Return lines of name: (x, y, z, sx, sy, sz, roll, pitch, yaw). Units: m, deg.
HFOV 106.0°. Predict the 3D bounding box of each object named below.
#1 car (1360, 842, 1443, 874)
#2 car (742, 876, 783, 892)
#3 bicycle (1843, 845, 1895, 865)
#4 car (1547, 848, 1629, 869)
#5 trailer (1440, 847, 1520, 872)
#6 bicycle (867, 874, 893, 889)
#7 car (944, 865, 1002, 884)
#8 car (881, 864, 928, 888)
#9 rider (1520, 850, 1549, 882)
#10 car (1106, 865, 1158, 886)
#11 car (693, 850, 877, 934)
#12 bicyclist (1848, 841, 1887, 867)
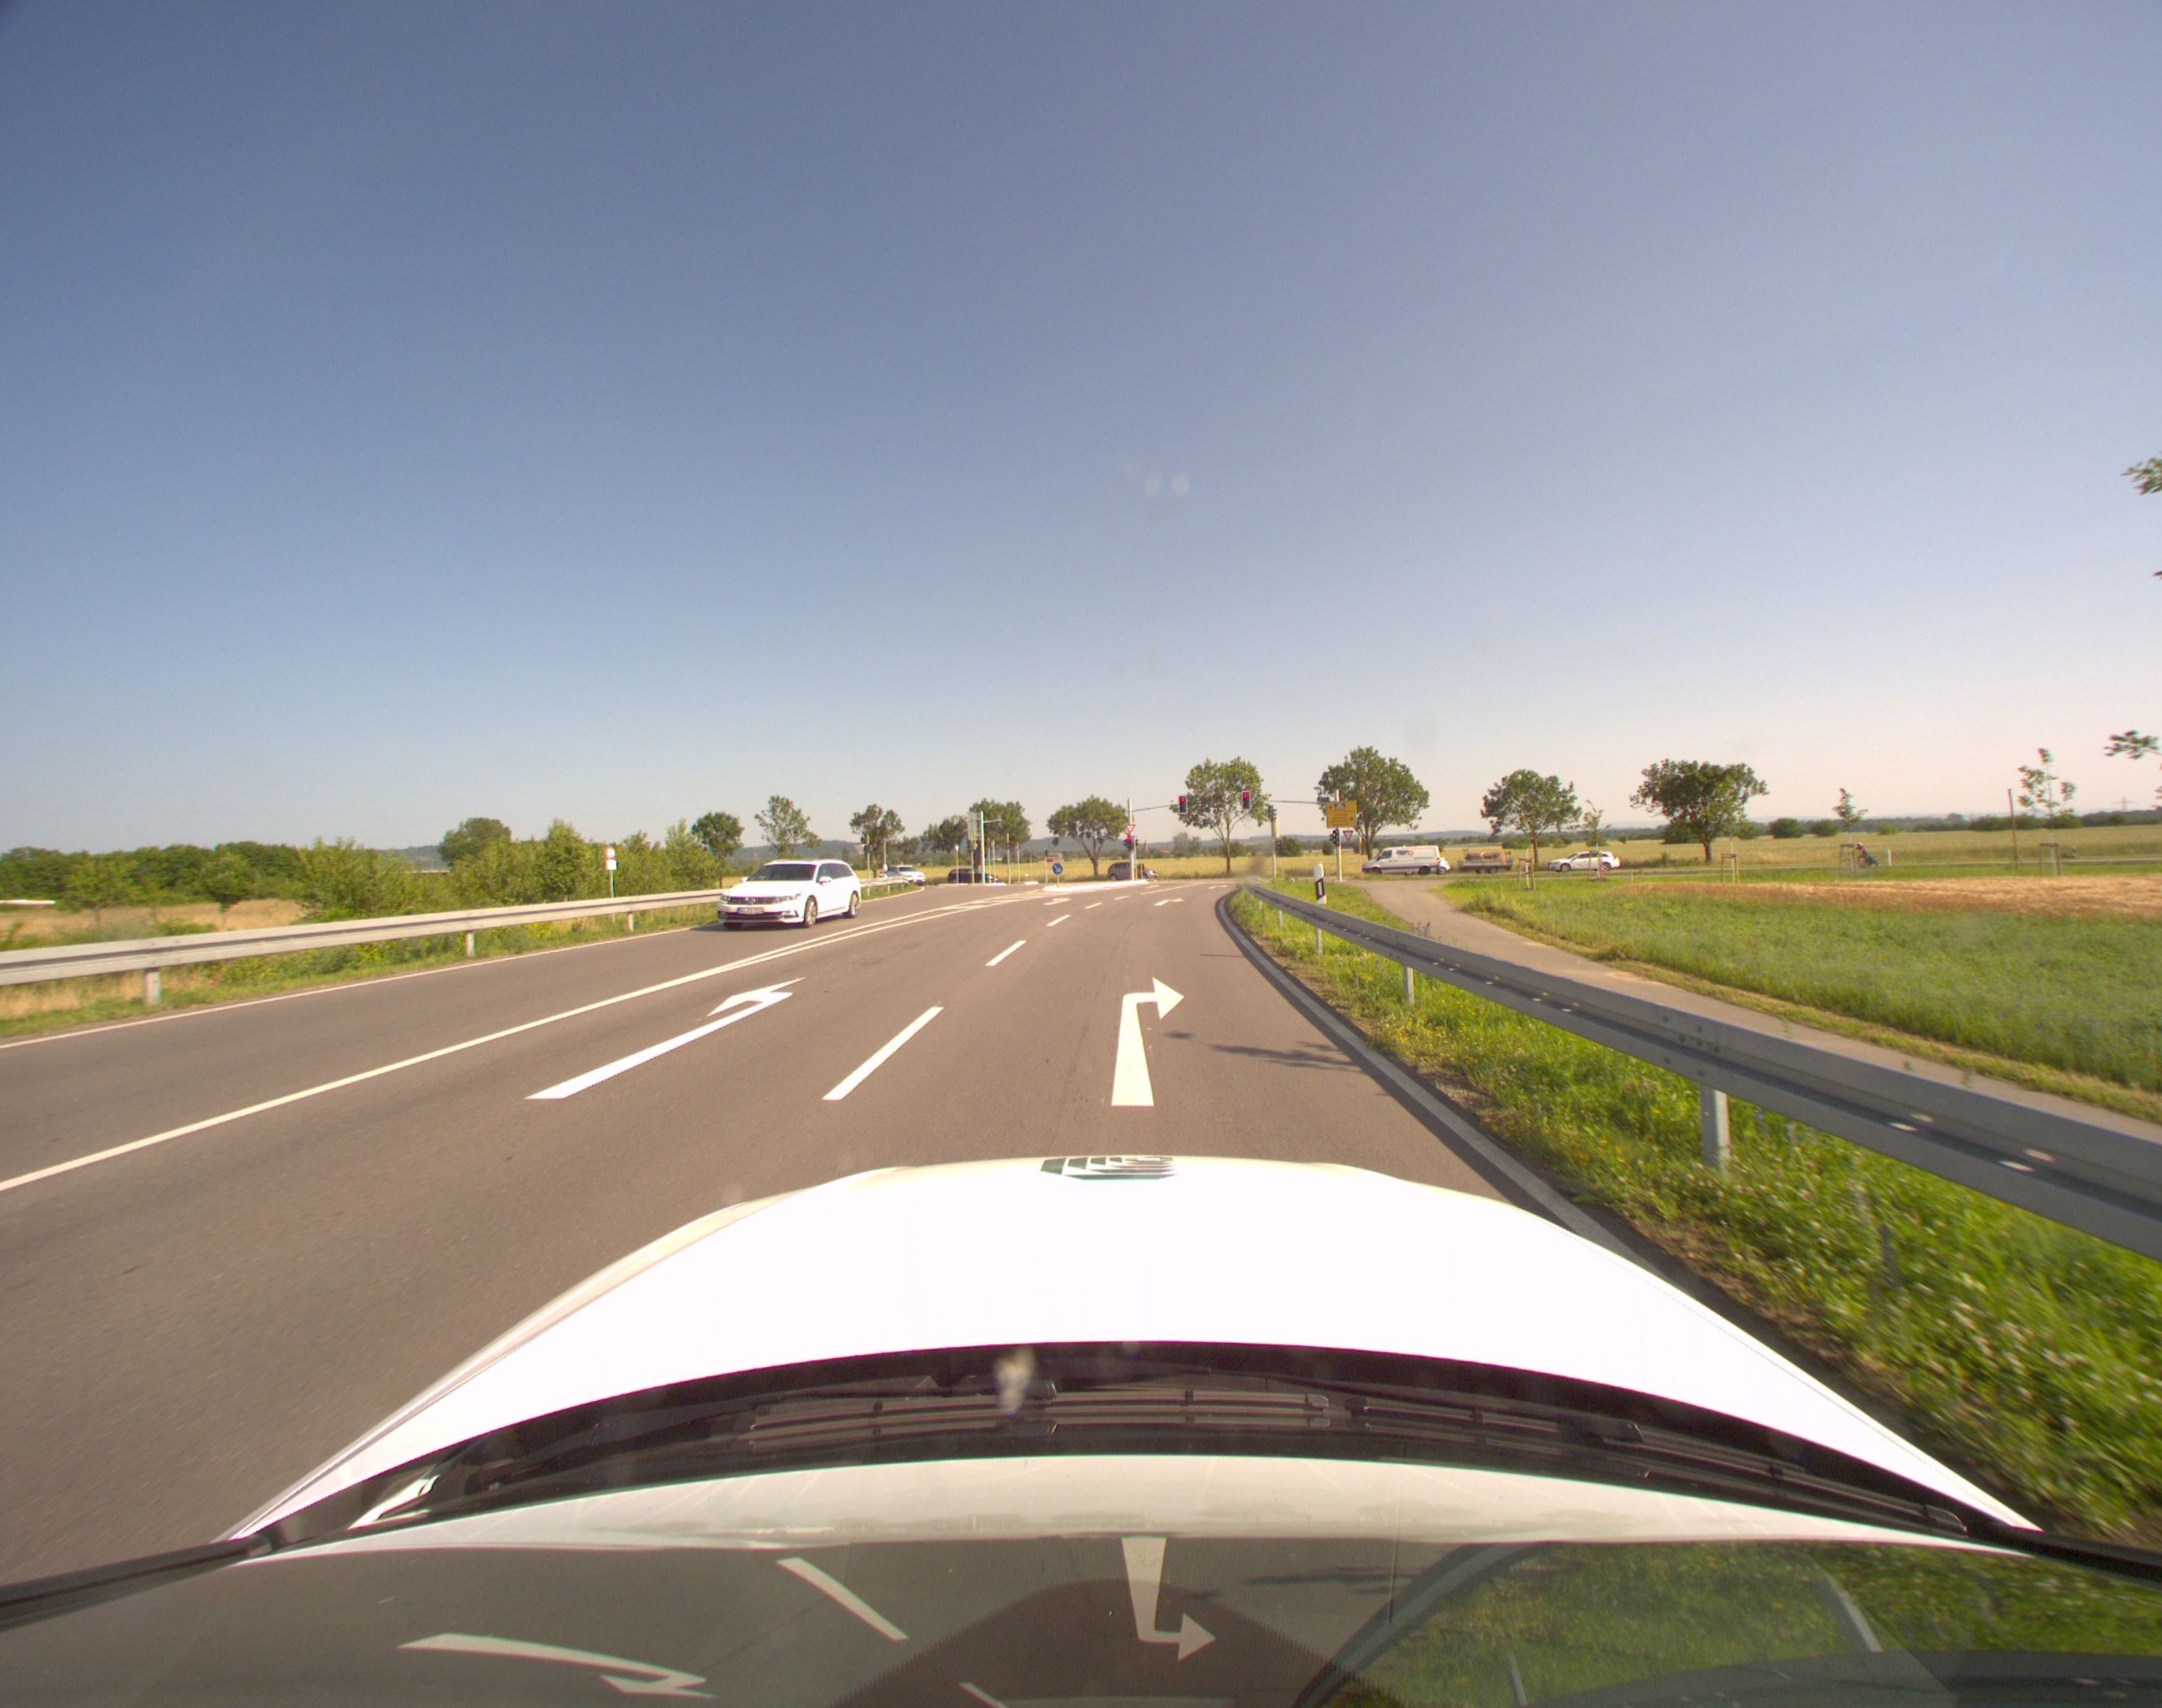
car: (25.338, 0.339, 64.575, 5.912, 2.493, 2.008, 0, -1, 16)
car: (-32.655, 3.084, 83.502, 3.694, 1.457, 1.738, -3, 0, 23)
bicycle: (48.476, 0.066, 50.129, 2.141, 1.186, 0.893, -1, -2, 13)
car: (38.091, 0.361, 61.296, 4.835, 1.510, 2.007, 0, -1, 13)
trailer: (30.784, 0.463, 63.015, 5.221, 1.753, 1.962, -2, -1, 16)
bicycle: (-19.183, 2.610, 77.697, 2.469, 1.397, 0.736, -1, -1, 22)
car: (-9.555, 1.833, 71.958, 4.636, 1.519, 1.931, -2, 1, 17)
car: (-13.580, 1.748, 62.459, 1.705, 1.674, 4.807, 2, -5, -37)
rider: (23.543, 0.617, 42.289, 0.824, 1.643, 0.981, -3, 0, -31)
car: (4.230, 1.753, 67.067, 3.924, 1.668, 1.771, 0, -1, 17)
car: (-6.556, 0.749, 18.824, 2.106, 1.492, 5.158, 0, 2, 3)
bicyclist: (48.393, -0.003, 50.132, 1.270, 1.601, 1.170, -1, 0, 13)
